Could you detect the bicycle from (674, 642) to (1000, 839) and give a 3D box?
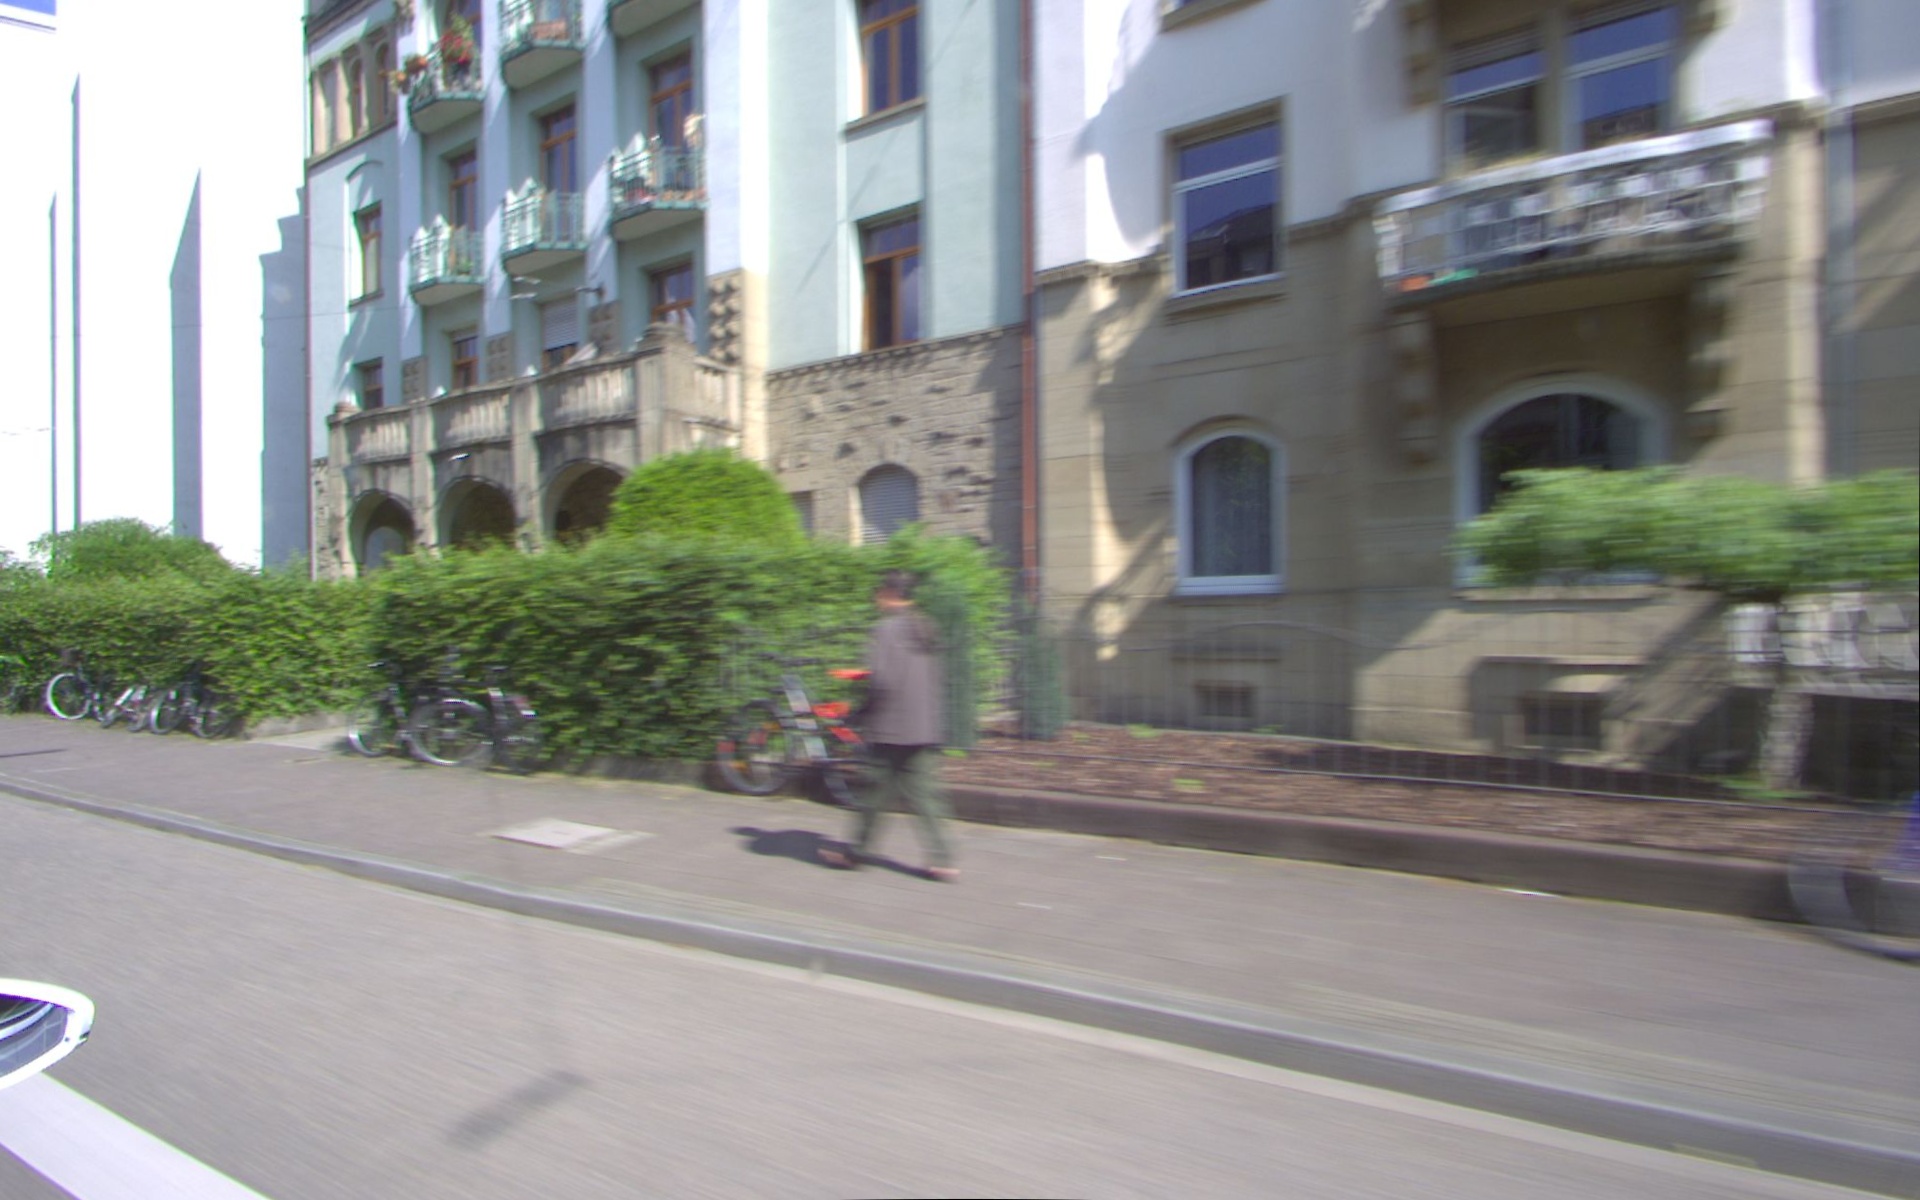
[{"bbox_3d":[-0.966,0.946,7.389,2.480,1.247,0.739,-2,-1,32],"label":"bicycle"}]

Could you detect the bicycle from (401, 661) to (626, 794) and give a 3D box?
[{"bbox_3d":[-4.025,1.079,8.945,2.329,1.009,0.609,-2,1,32],"label":"bicycle"}]

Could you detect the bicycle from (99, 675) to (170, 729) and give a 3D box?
[{"bbox_3d":[-11.631,1.417,14.096,1.537,0.686,0.278,-2,2,33],"label":"bicycle"}]

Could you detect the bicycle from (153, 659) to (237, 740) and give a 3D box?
[{"bbox_3d":[-9.872,1.261,12.905,1.644,0.919,0.273,1,3,33],"label":"bicycle"}]

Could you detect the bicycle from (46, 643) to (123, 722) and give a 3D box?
[{"bbox_3d":[-13.221,1.220,15.110,1.982,1.124,0.278,-2,2,33],"label":"bicycle"}]

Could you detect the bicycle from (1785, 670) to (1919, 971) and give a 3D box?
[{"bbox_3d":[4.336,0.875,3.796,1.818,1.138,0.450,-1,2,34],"label":"bicycle"}]

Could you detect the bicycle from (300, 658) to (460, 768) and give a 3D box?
[{"bbox_3d":[-5.977,1.117,10.284,1.845,1.002,0.611,-2,1,32],"label":"bicycle"}]

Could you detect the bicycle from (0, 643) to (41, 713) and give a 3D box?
[{"bbox_3d":[-16.146,1.310,16.973,1.982,1.124,0.278,-2,2,33],"label":"bicycle"}]

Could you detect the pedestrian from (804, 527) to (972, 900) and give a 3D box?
[{"bbox_3d":[-0.375,0.573,5.528,0.571,1.887,0.787,-1,2,25],"label":"pedestrian"}]
